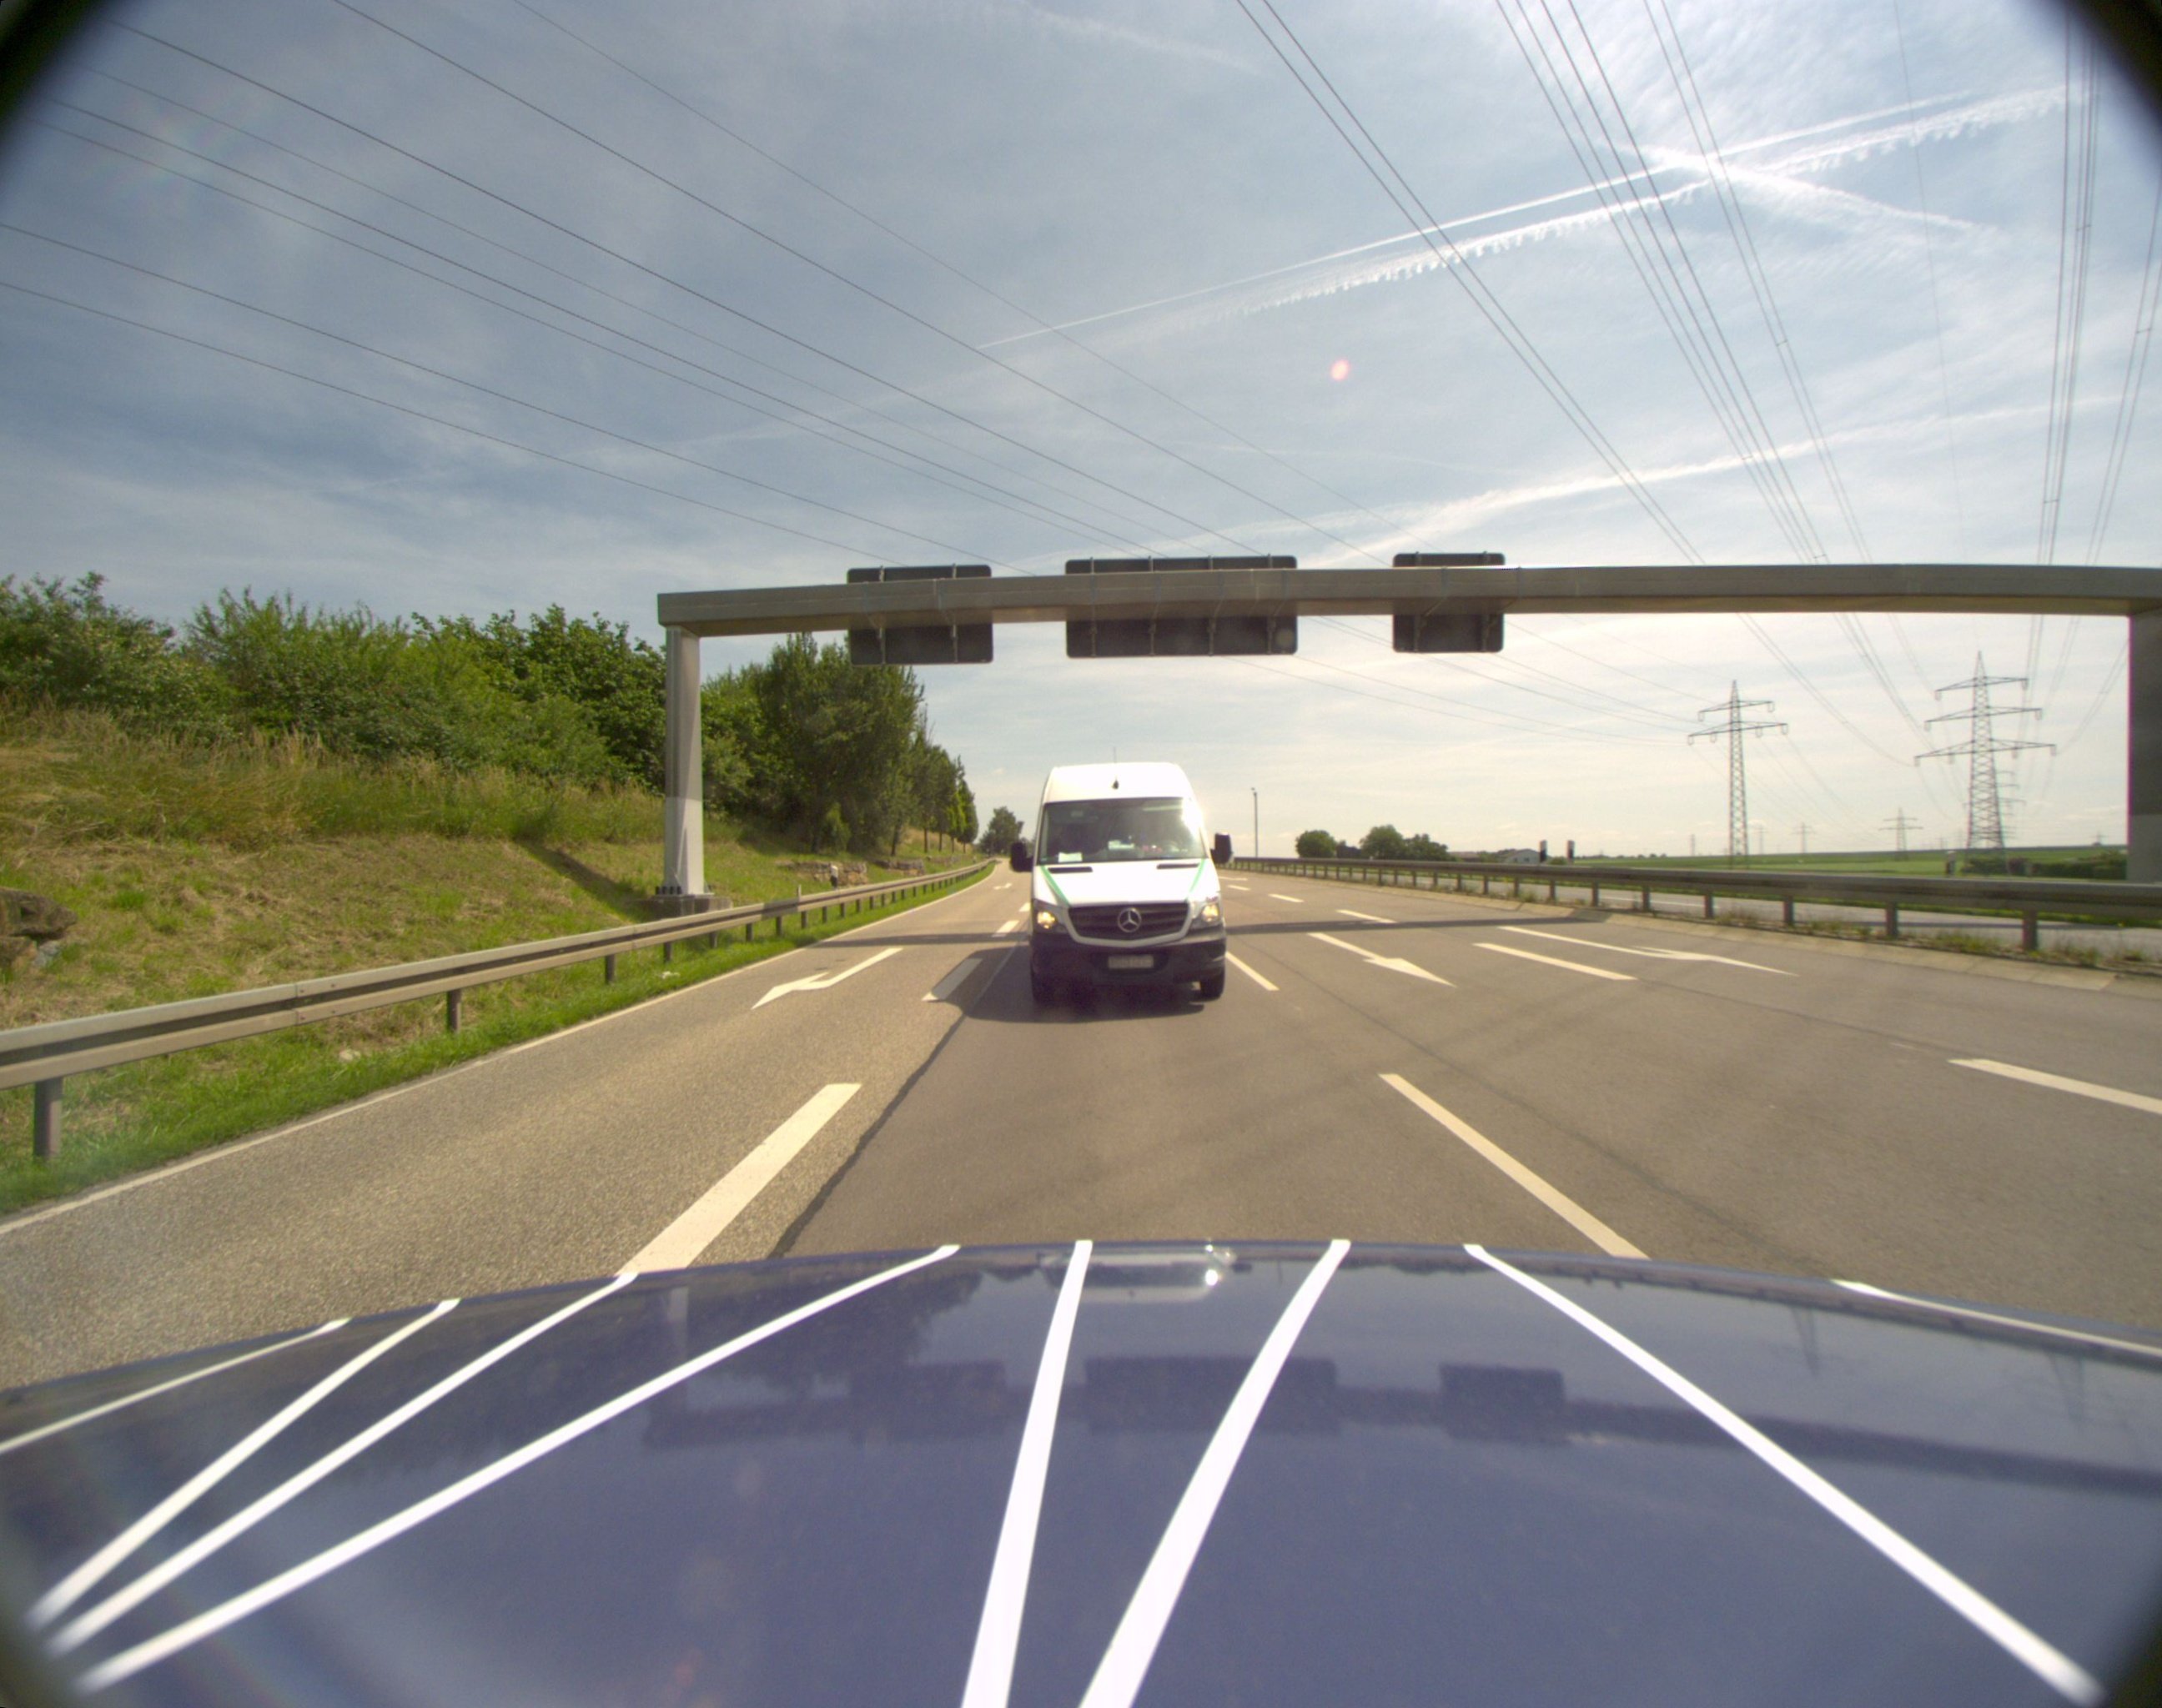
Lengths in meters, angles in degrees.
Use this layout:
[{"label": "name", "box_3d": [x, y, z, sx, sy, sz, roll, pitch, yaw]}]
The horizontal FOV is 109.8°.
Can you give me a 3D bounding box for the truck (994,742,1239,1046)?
[{"label": "truck", "box_3d": [0.375, 0.320, 8.984, 1.998, 2.518, 5.105, -2, 1, 2]}]
